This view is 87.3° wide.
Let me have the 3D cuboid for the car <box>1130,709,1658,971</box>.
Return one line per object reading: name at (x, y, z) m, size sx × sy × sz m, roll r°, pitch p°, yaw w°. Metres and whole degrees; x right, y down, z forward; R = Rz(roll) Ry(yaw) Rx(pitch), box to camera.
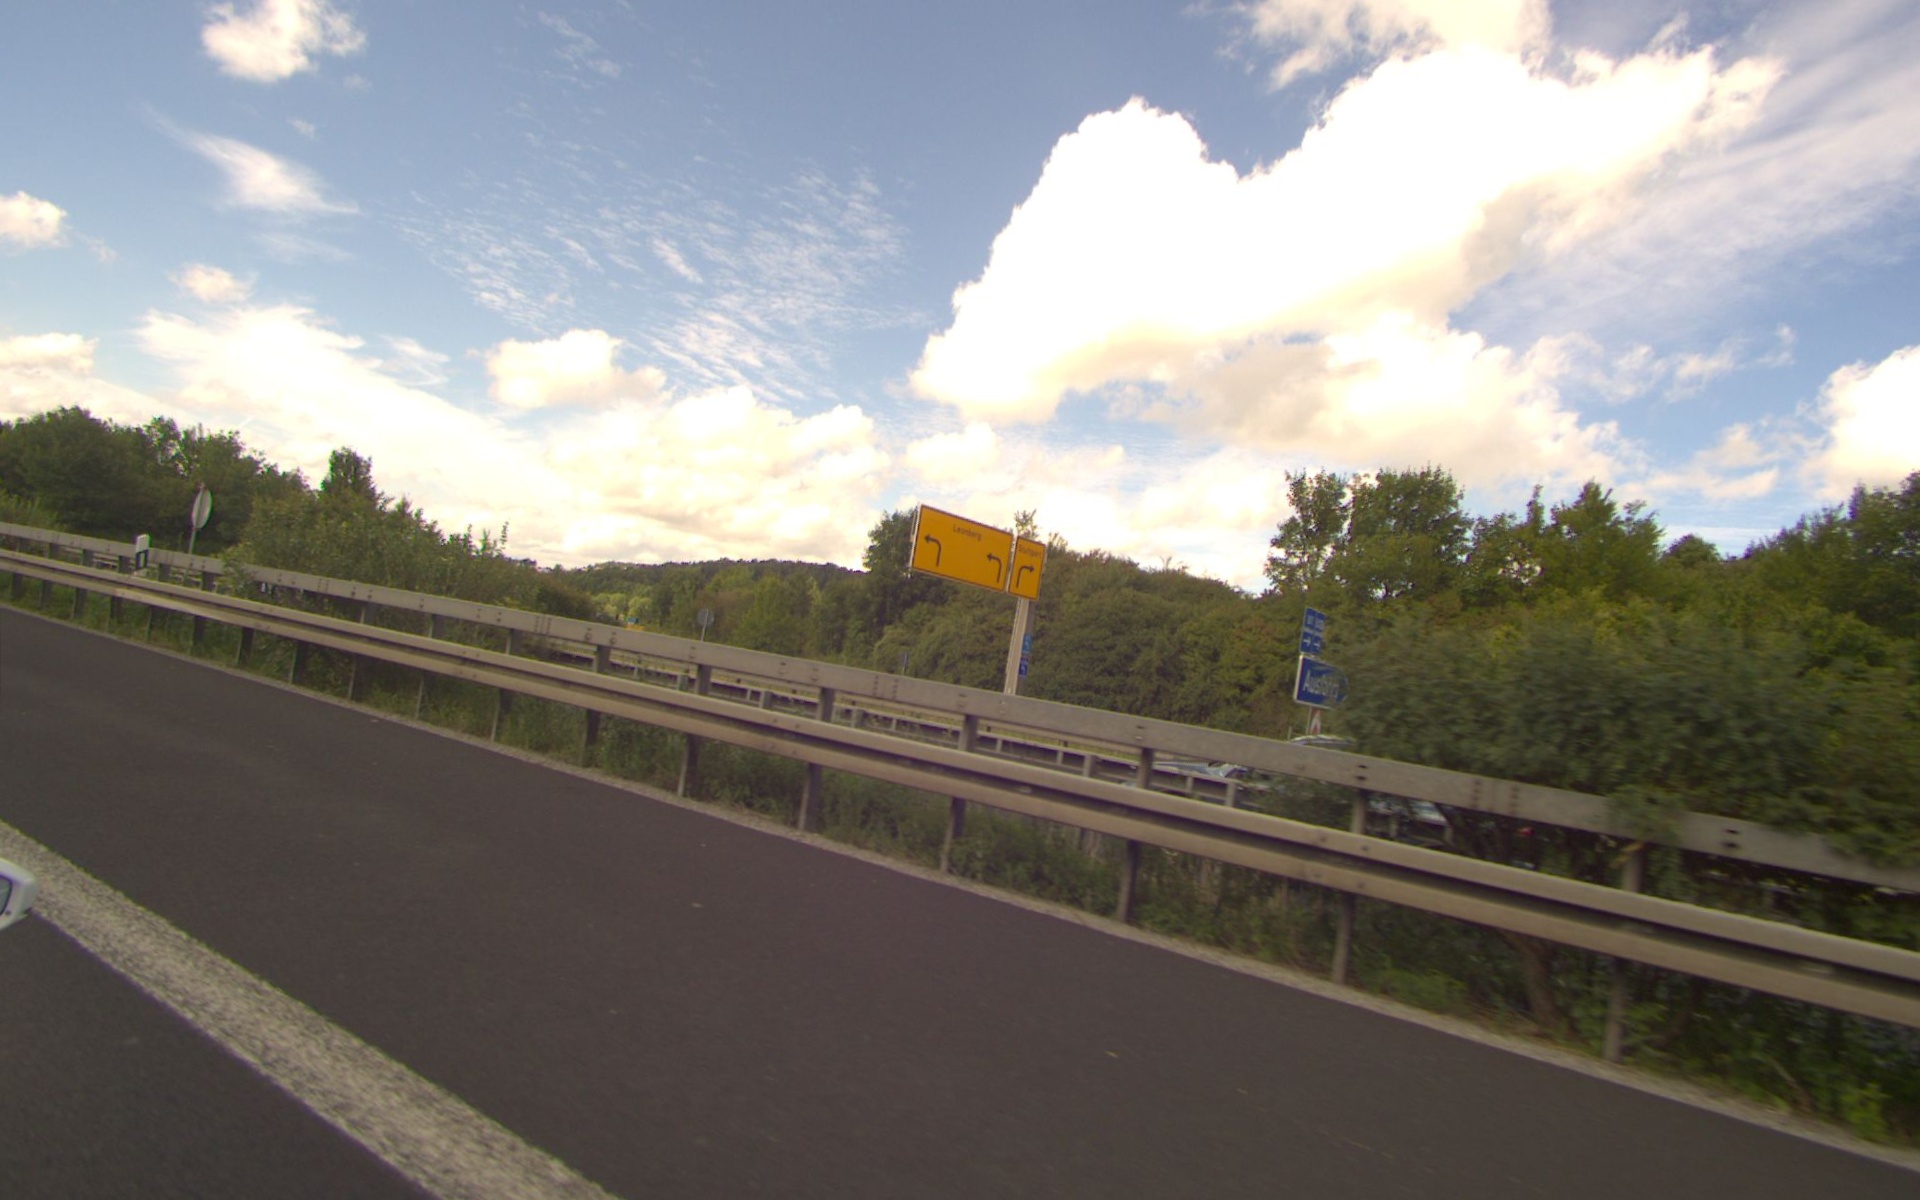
car at (4.335, 2.256, 10.504) m, size 4.599 × 1.536 × 1.788 m, roll 6°, pitch -2°, yaw 32°
